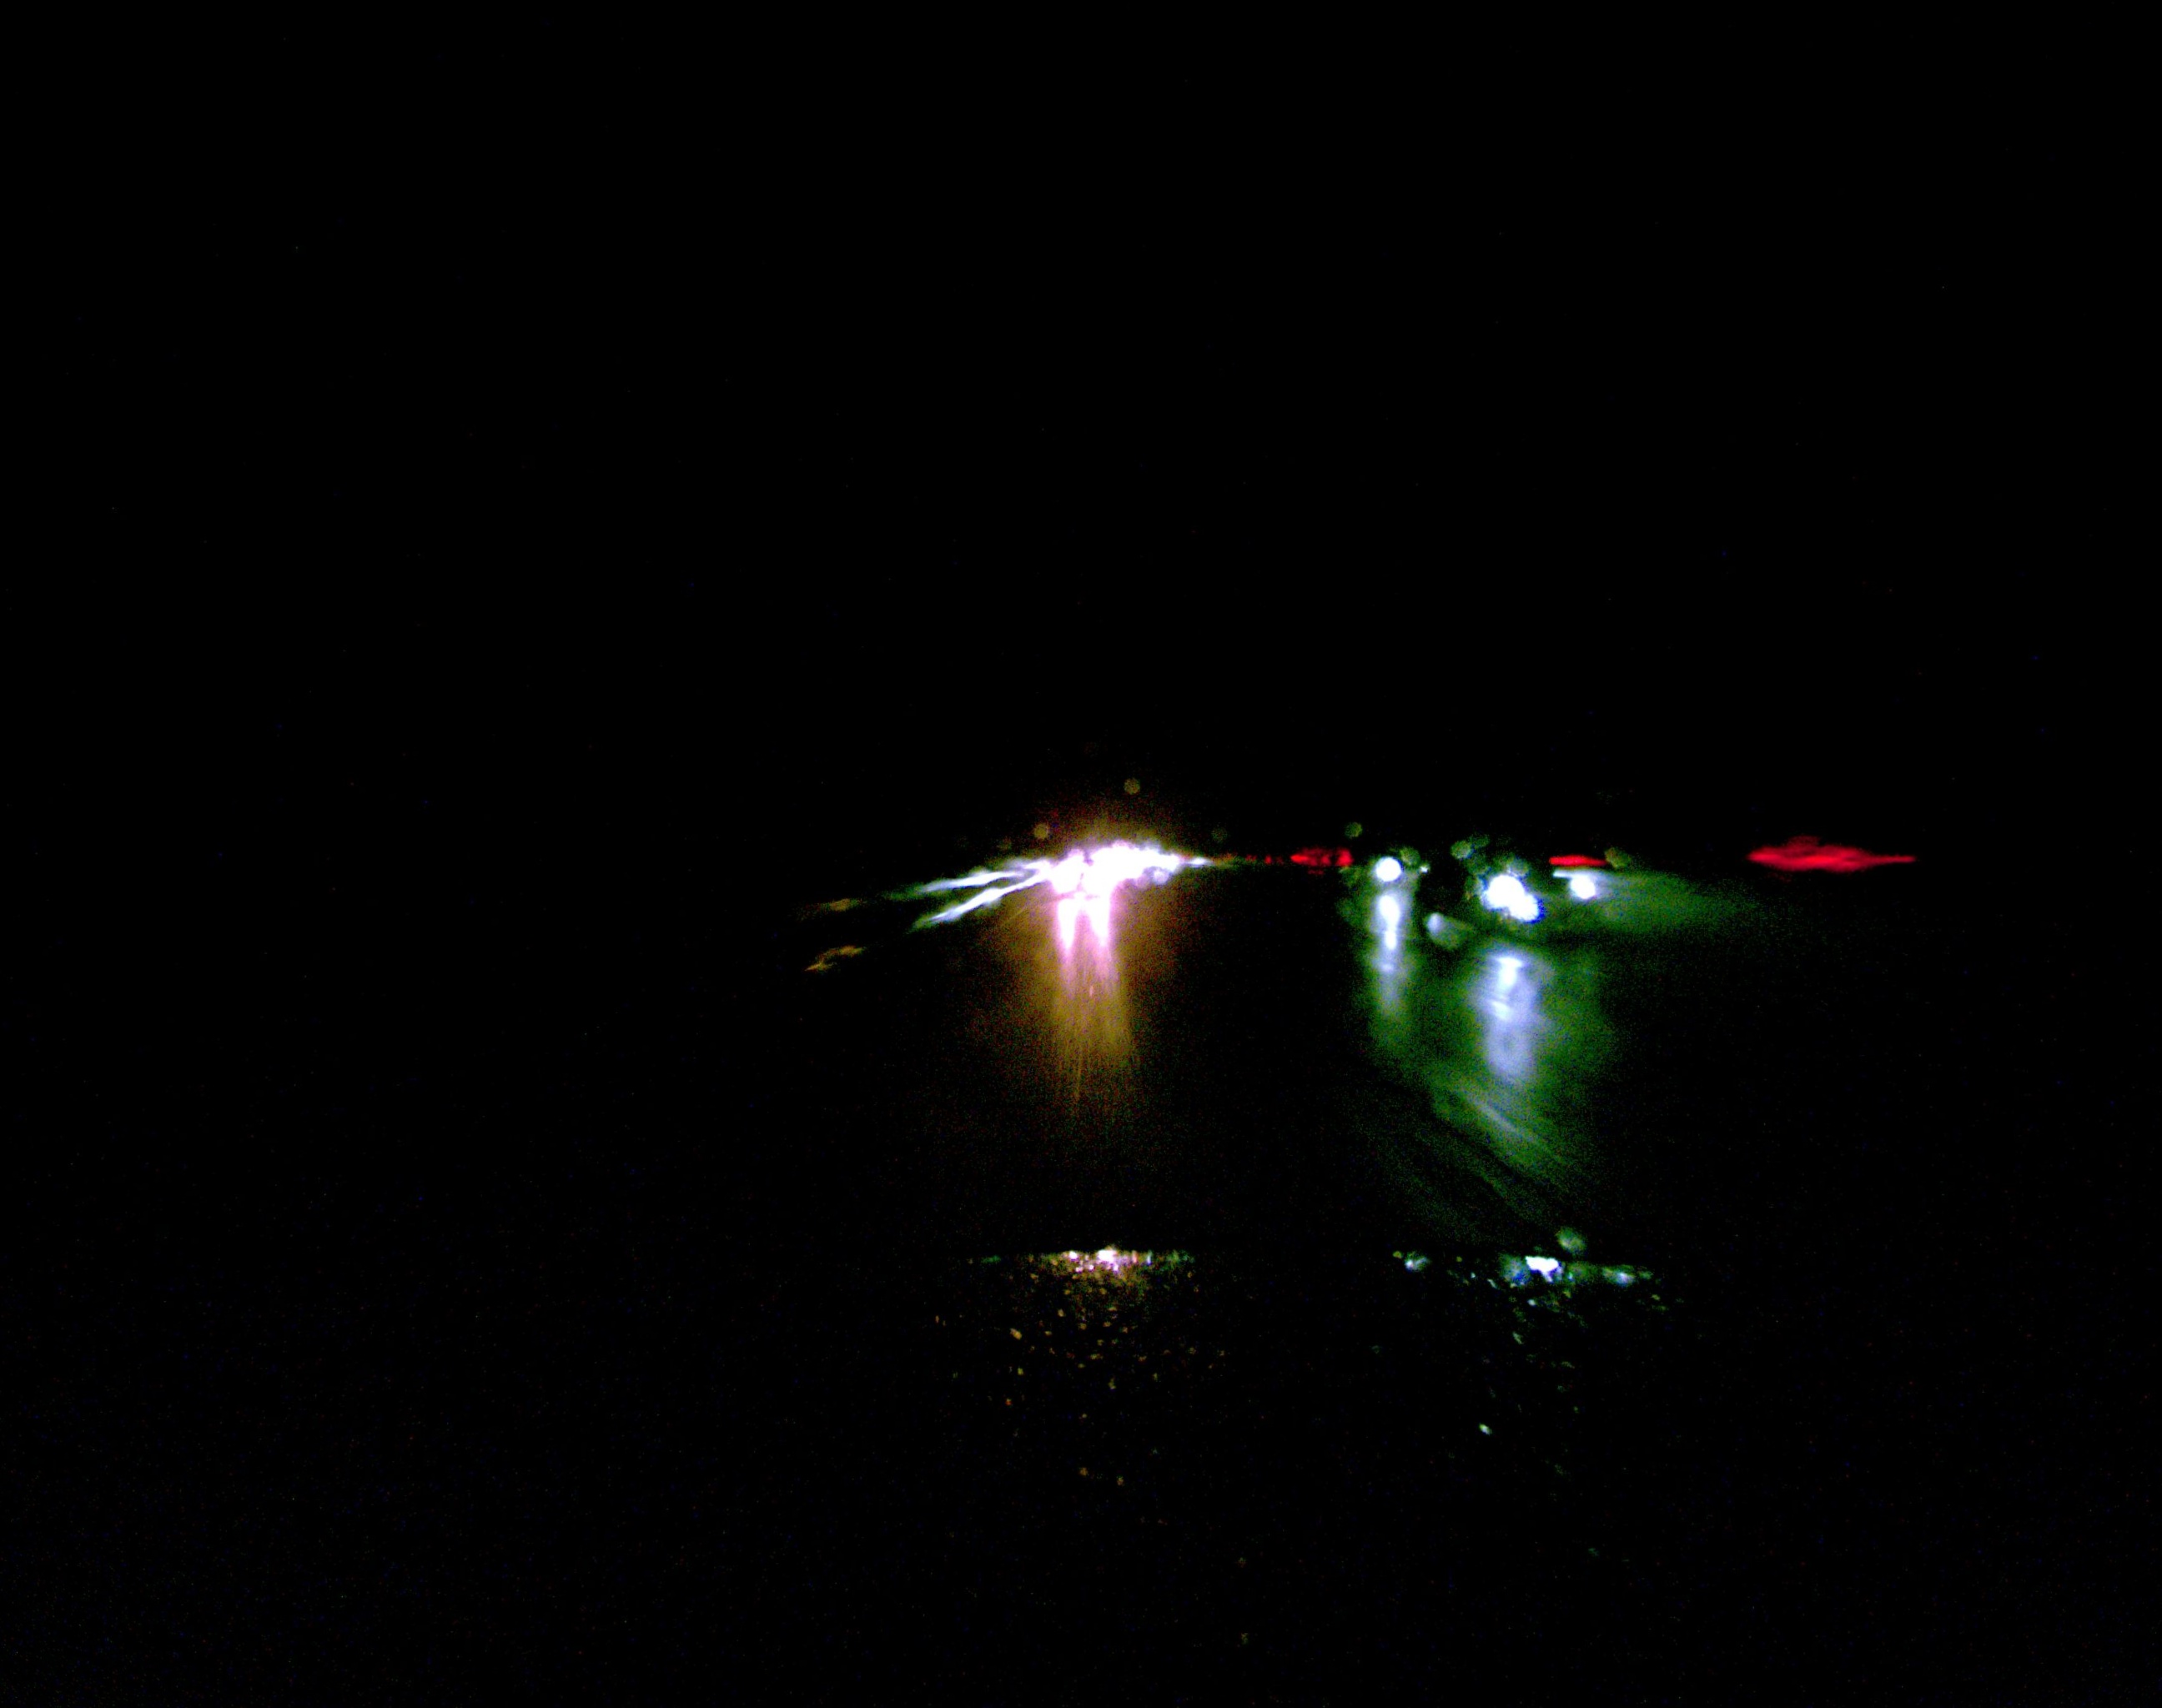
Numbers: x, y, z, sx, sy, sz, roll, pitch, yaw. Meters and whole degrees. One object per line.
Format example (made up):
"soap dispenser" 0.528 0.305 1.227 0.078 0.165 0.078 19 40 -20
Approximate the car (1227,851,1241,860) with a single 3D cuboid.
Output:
"car" 30.610 0.329 152.164 1.884 1.712 4.563 -2 1 2

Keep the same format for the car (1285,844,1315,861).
"car" 24.556 -0.198 85.463 1.885 1.712 4.562 -2 1 -2

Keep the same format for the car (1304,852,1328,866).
"car" 33.265 0.694 107.638 1.885 1.712 4.562 -2 1 -1

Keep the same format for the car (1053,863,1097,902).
"car" -0.197 1.027 28.750 1.525 1.256 3.369 -2 1 1

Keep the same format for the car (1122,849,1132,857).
"car" 10.141 -0.239 166.967 1.998 1.551 4.587 -2 1 1

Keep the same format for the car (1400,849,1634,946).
"car" 7.660 0.669 13.886 1.998 1.433 4.000 -2 1 1

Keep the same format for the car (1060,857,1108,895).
"car" 0.173 0.974 34.232 1.998 1.542 4.001 -2 -1 1

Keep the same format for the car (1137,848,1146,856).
"car" 15.007 -0.413 187.386 1.998 1.797 4.000 -2 1 2

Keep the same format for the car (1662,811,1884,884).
"car" 20.113 -0.192 22.484 1.885 1.832 5.059 -2 1 -1

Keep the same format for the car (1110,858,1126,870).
"car" 5.105 1.371 106.041 1.998 1.551 4.587 -2 1 1

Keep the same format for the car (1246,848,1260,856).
"car" 34.450 -0.355 152.068 1.885 1.425 3.895 -2 1 -1

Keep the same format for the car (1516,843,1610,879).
"car" 24.920 0.323 39.524 1.885 1.712 4.562 -2 1 -2

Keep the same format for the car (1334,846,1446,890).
"car" 11.631 0.464 29.071 1.999 1.468 5.163 -2 1 -2

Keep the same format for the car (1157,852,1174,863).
"car" 12.776 0.483 115.161 1.998 1.551 4.587 -2 1 1
